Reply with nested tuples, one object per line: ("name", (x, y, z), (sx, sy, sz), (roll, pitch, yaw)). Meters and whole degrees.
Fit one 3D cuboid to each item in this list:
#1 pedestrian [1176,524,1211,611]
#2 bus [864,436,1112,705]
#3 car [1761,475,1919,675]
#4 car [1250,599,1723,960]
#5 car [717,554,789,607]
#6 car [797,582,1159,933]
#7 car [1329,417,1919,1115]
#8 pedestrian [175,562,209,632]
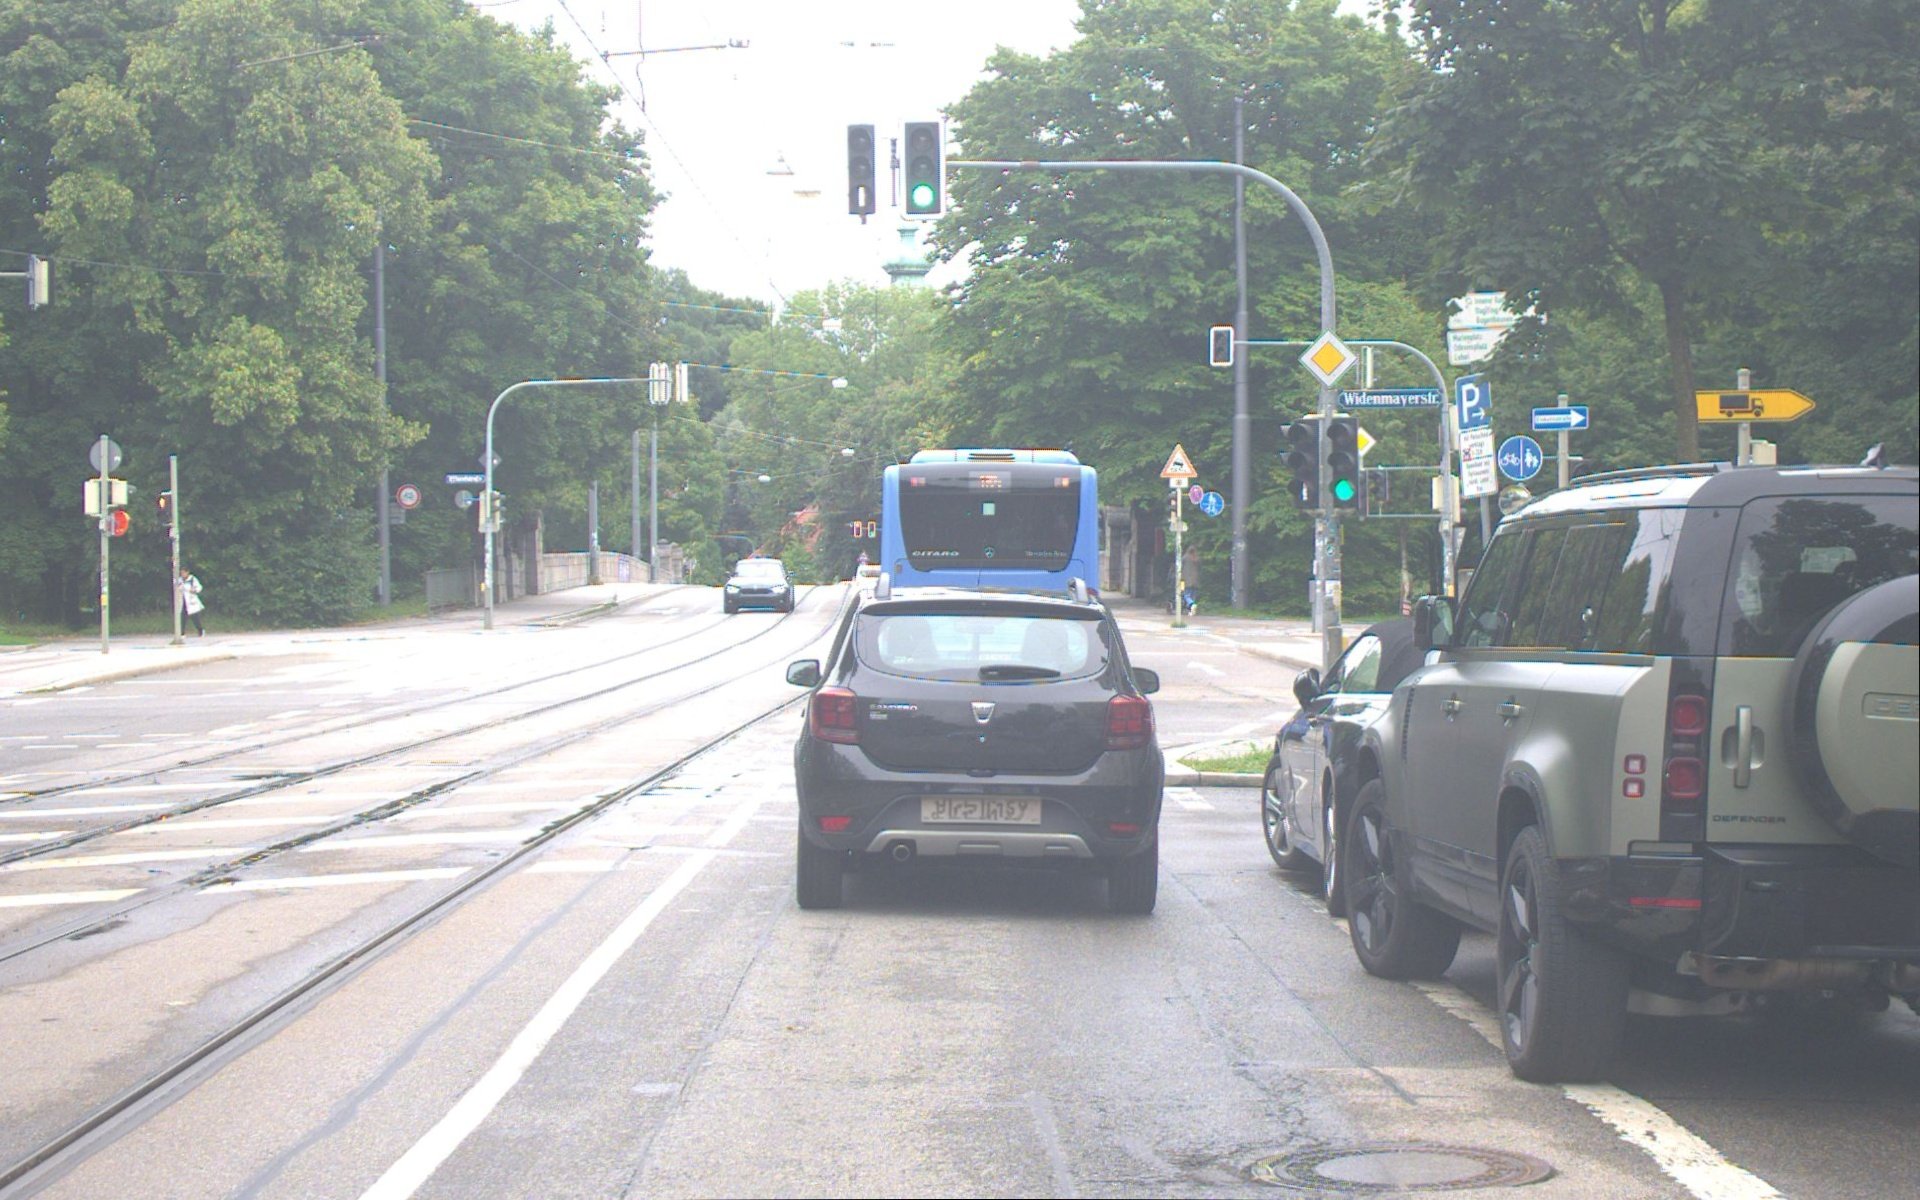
("pedestrian", (5.768, -0.800, 84.923), (0.762, 2.109, 0.853), (1, 0, 0))
("bus", (0.219, -0.330, 42.508), (2.678, 2.987, 6.961), (1, 0, -2))
("car", (13.853, -0.280, 46.712), (5.295, 2.604, 2.231), (2, 0, -3))
("car", (2.565, 0.814, 17.721), (1.714, 1.586, 4.327), (1, 0, 0))
("car", (-5.574, -0.525, 92.779), (1.787, 1.365, 3.400), (1, 0, -2))
("car", (0.055, 0.713, 17.320), (1.600, 1.551, 3.525), (1, 0, -1))
("car", (2.611, 0.471, 11.877), (1.914, 1.899, 4.808), (1, 0, -2))
("pedestrian", (-16.586, -0.064, 74.212), (0.532, 1.496, 0.588), (1, 0, 4))
